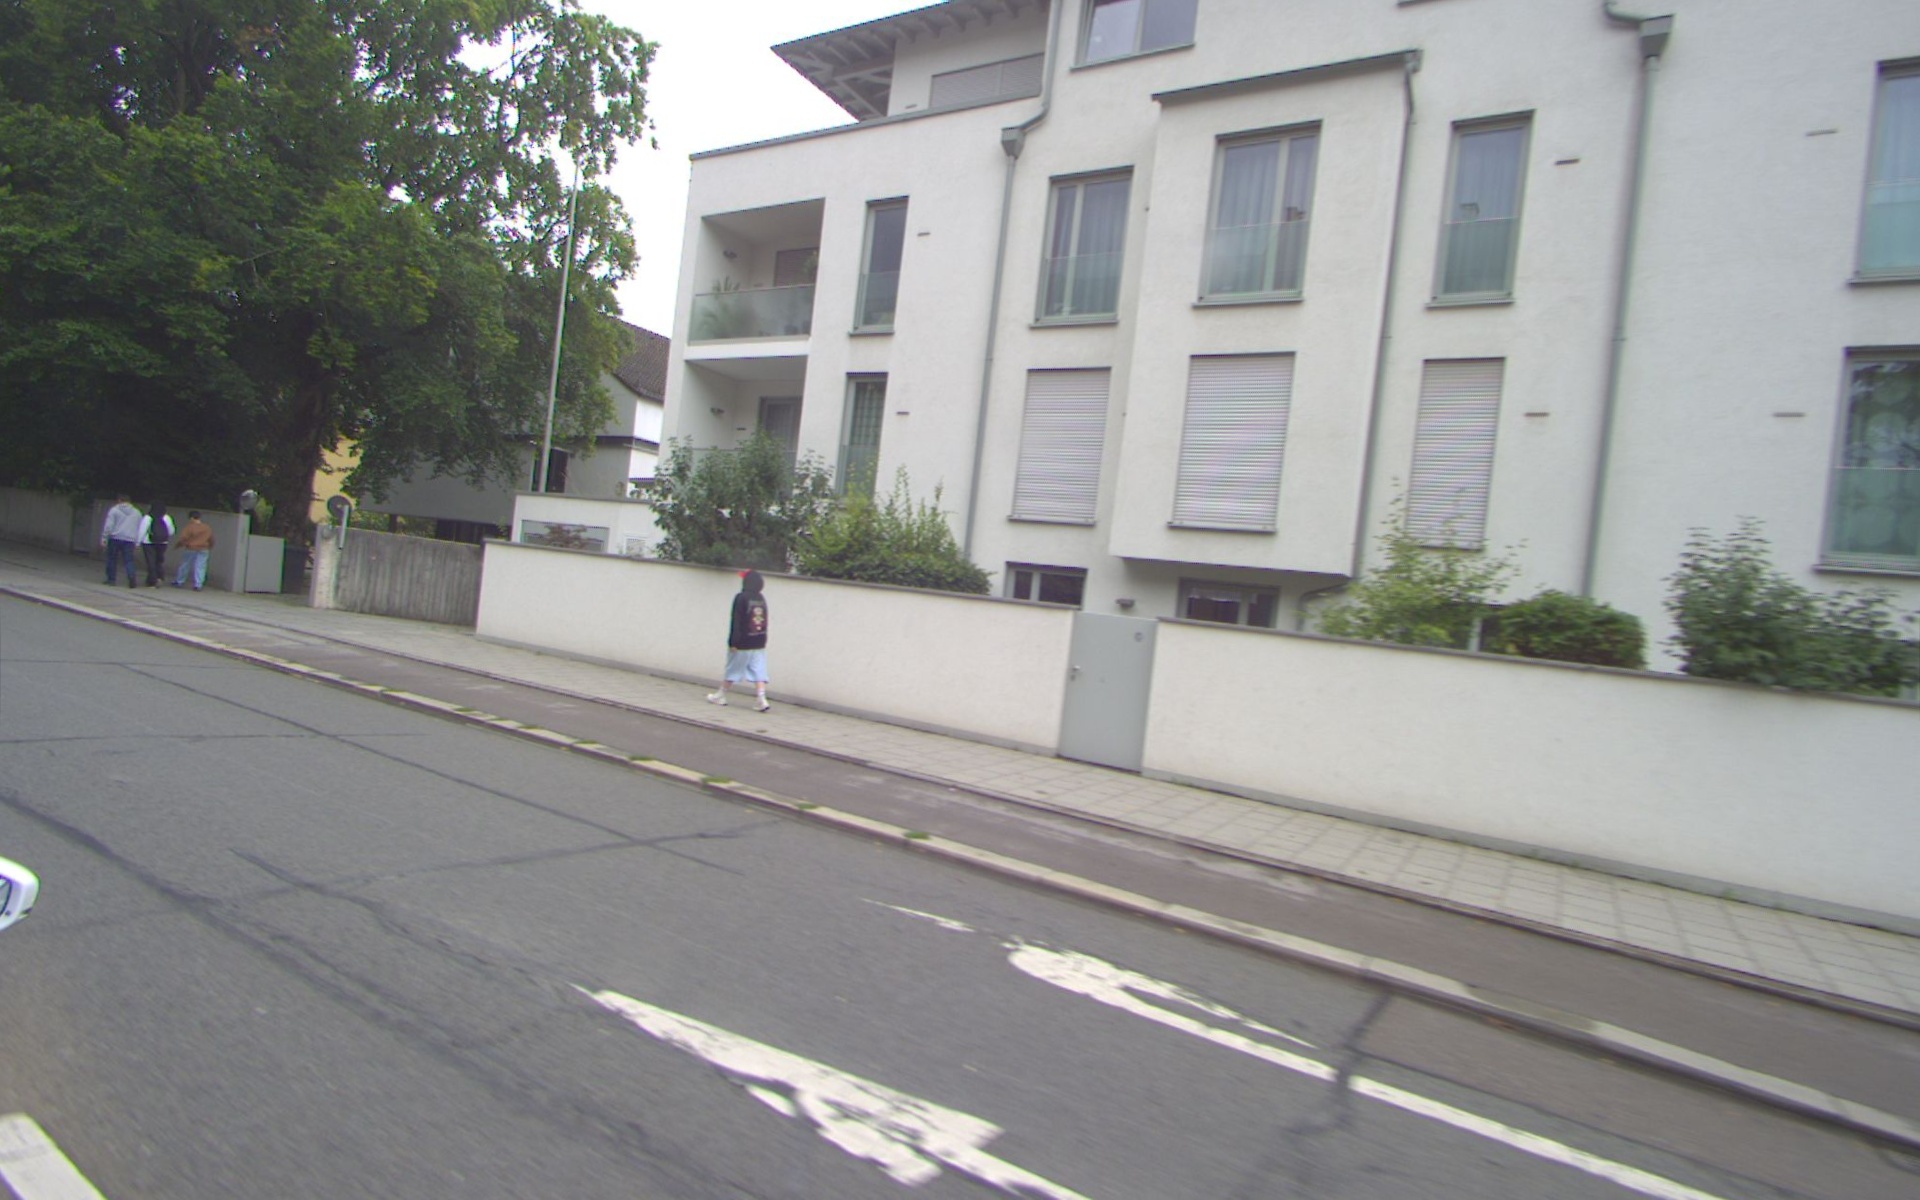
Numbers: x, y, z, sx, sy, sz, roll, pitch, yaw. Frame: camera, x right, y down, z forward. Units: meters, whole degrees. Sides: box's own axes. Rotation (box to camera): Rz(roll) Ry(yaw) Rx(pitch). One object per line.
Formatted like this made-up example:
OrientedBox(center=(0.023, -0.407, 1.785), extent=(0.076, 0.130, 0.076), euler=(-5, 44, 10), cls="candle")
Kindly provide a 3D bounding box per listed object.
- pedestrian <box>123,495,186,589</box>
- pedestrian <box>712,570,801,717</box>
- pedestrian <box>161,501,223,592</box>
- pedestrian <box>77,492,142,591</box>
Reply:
OrientedBox(center=(-15.539, -1.111, 19.406), extent=(0.716, 1.715, 0.666), euler=(7, 3, 31), cls="pedestrian")
OrientedBox(center=(-2.371, 0.497, 11.739), extent=(0.716, 1.602, 0.528), euler=(7, 3, 31), cls="pedestrian")
OrientedBox(center=(-15.402, -1.066, 20.180), extent=(0.753, 1.728, 0.666), euler=(7, 3, 31), cls="pedestrian")
OrientedBox(center=(-15.901, -1.089, 18.815), extent=(0.716, 1.745, 0.666), euler=(7, 3, 31), cls="pedestrian")
